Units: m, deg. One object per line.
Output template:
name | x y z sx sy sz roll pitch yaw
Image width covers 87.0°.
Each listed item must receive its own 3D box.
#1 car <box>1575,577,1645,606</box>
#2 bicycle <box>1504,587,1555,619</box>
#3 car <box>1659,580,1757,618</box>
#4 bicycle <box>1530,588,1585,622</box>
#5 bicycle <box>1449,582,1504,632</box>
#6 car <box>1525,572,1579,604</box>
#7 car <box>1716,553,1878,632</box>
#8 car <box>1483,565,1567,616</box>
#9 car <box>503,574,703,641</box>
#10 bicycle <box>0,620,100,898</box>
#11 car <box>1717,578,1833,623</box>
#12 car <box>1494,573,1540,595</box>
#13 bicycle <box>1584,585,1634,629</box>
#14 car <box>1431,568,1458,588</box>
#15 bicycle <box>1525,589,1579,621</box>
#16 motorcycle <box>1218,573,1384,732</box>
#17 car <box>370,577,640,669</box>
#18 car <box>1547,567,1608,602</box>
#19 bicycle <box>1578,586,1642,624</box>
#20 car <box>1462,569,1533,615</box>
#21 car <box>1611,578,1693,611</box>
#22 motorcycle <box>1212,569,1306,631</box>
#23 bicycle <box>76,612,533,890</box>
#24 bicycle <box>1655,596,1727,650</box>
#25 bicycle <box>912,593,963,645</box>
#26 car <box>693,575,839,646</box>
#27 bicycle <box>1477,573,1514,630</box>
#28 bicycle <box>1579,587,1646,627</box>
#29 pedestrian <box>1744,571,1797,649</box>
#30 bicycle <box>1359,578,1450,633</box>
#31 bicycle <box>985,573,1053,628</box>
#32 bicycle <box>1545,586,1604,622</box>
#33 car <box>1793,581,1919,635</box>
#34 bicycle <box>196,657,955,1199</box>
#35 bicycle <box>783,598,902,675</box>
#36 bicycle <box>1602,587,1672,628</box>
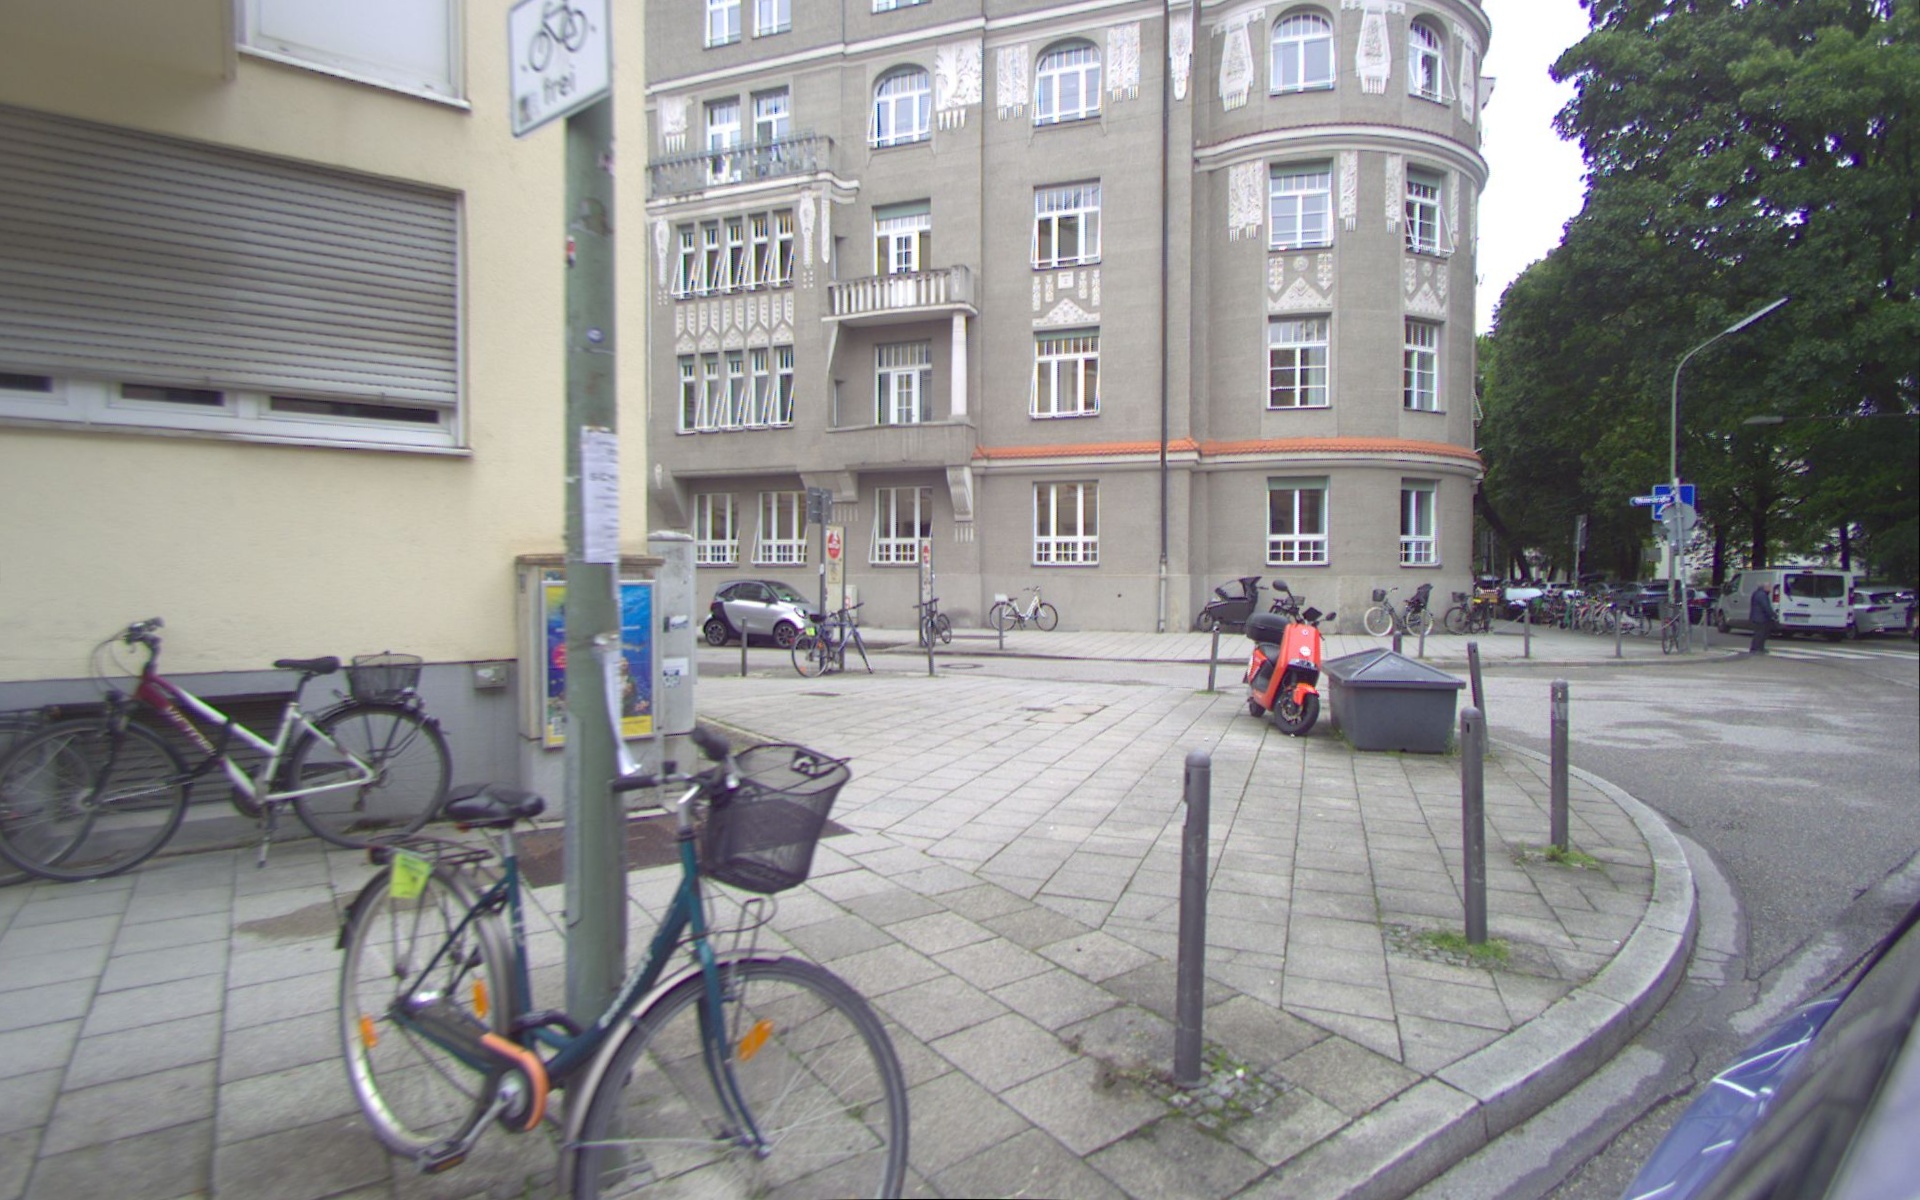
car | 33.300 -0.477 51.971 1.752 1.450 4.494 0 1 16
bicycle | 21.851 0.115 38.844 1.674 1.161 0.505 1 2 36
car | 30.483 -0.089 41.409 1.752 1.450 4.494 0 1 16
bicycle | 21.633 0.167 36.632 1.674 1.161 0.505 1 2 36
bicycle | 12.986 0.160 25.444 1.894 1.170 0.564 -2 5 -43
car | 35.840 -0.766 61.399 1.752 1.858 4.494 0 1 16
car | 23.826 -0.174 29.073 2.021 2.067 4.924 1 -1 20
car | 23.196 -0.463 41.735 1.972 1.976 4.638 0 2 16
car | -8.758 0.133 24.832 4.651 1.534 1.749 1 1 22
bicycle | -4.499 0.650 3.893 1.728 1.067 0.582 -1 2 -32
car | 28.410 -0.029 35.439 1.603 1.467 4.412 0 1 17
car | 37.605 -1.082 68.461 1.752 1.450 4.494 0 1 16
bicycle | 18.048 0.171 28.134 1.652 1.161 0.512 -1 2 -33
car | 49.322 -2.310 103.098 1.975 1.976 4.632 1 2 20
bicycle | 21.986 0.174 37.584 1.674 1.161 0.505 1 2 36
motorcycle | 3.204 0.426 9.765 0.801 1.373 2.086 0 1 -3
car | -8.229 0.350 18.326 4.550 1.490 1.689 1 2 19
car | 34.592 -0.883 56.779 1.752 1.841 4.494 1 1 16
bicycle | 20.454 0.144 31.852 1.674 1.161 0.505 1 2 36
car | 24.764 -0.444 46.802 1.972 1.976 4.638 0 2 16
car | 31.781 -0.281 46.619 1.752 1.450 4.494 0 1 16
motorcycle | 7.221 -0.019 24.457 2.119 1.458 0.734 1 2 19
bicycle | -3.022 0.628 4.844 1.728 1.067 0.582 -1 2 -32
bicycle | 15.003 0.447 20.755 1.969 1.022 0.512 -1 2 -33
bicycle | -0.476 0.390 22.265 0.533 1.027 1.798 0 3 19
car | -4.446 0.192 23.335 2.876 1.534 1.698 1 1 21
bicycle | 14.368 0.015 27.137 0.733 1.431 1.905 1 2 32
bicycle | 19.728 0.202 30.608 1.674 1.161 0.460 1 2 36
pedestrian | 17.866 0.200 22.319 0.719 1.662 0.806 1 2 26
bicycle | 10.640 0.113 24.248 1.886 1.271 0.740 0 2 -10
bicycle | 1.521 0.003 26.103 1.652 1.366 0.617 0 2 16
bicycle | 20.770 0.120 34.220 1.674 1.161 0.505 1 2 36
car | 26.612 0.178 29.642 1.601 1.467 4.417 0 1 14
bicycle | -0.945 0.746 2.351 1.749 1.079 0.767 1 2 33
bicycle | -1.776 0.533 15.465 1.767 1.099 0.664 0 -1 -43
bicycle | 19.859 0.207 29.699 1.698 1.161 0.505 1 2 36
